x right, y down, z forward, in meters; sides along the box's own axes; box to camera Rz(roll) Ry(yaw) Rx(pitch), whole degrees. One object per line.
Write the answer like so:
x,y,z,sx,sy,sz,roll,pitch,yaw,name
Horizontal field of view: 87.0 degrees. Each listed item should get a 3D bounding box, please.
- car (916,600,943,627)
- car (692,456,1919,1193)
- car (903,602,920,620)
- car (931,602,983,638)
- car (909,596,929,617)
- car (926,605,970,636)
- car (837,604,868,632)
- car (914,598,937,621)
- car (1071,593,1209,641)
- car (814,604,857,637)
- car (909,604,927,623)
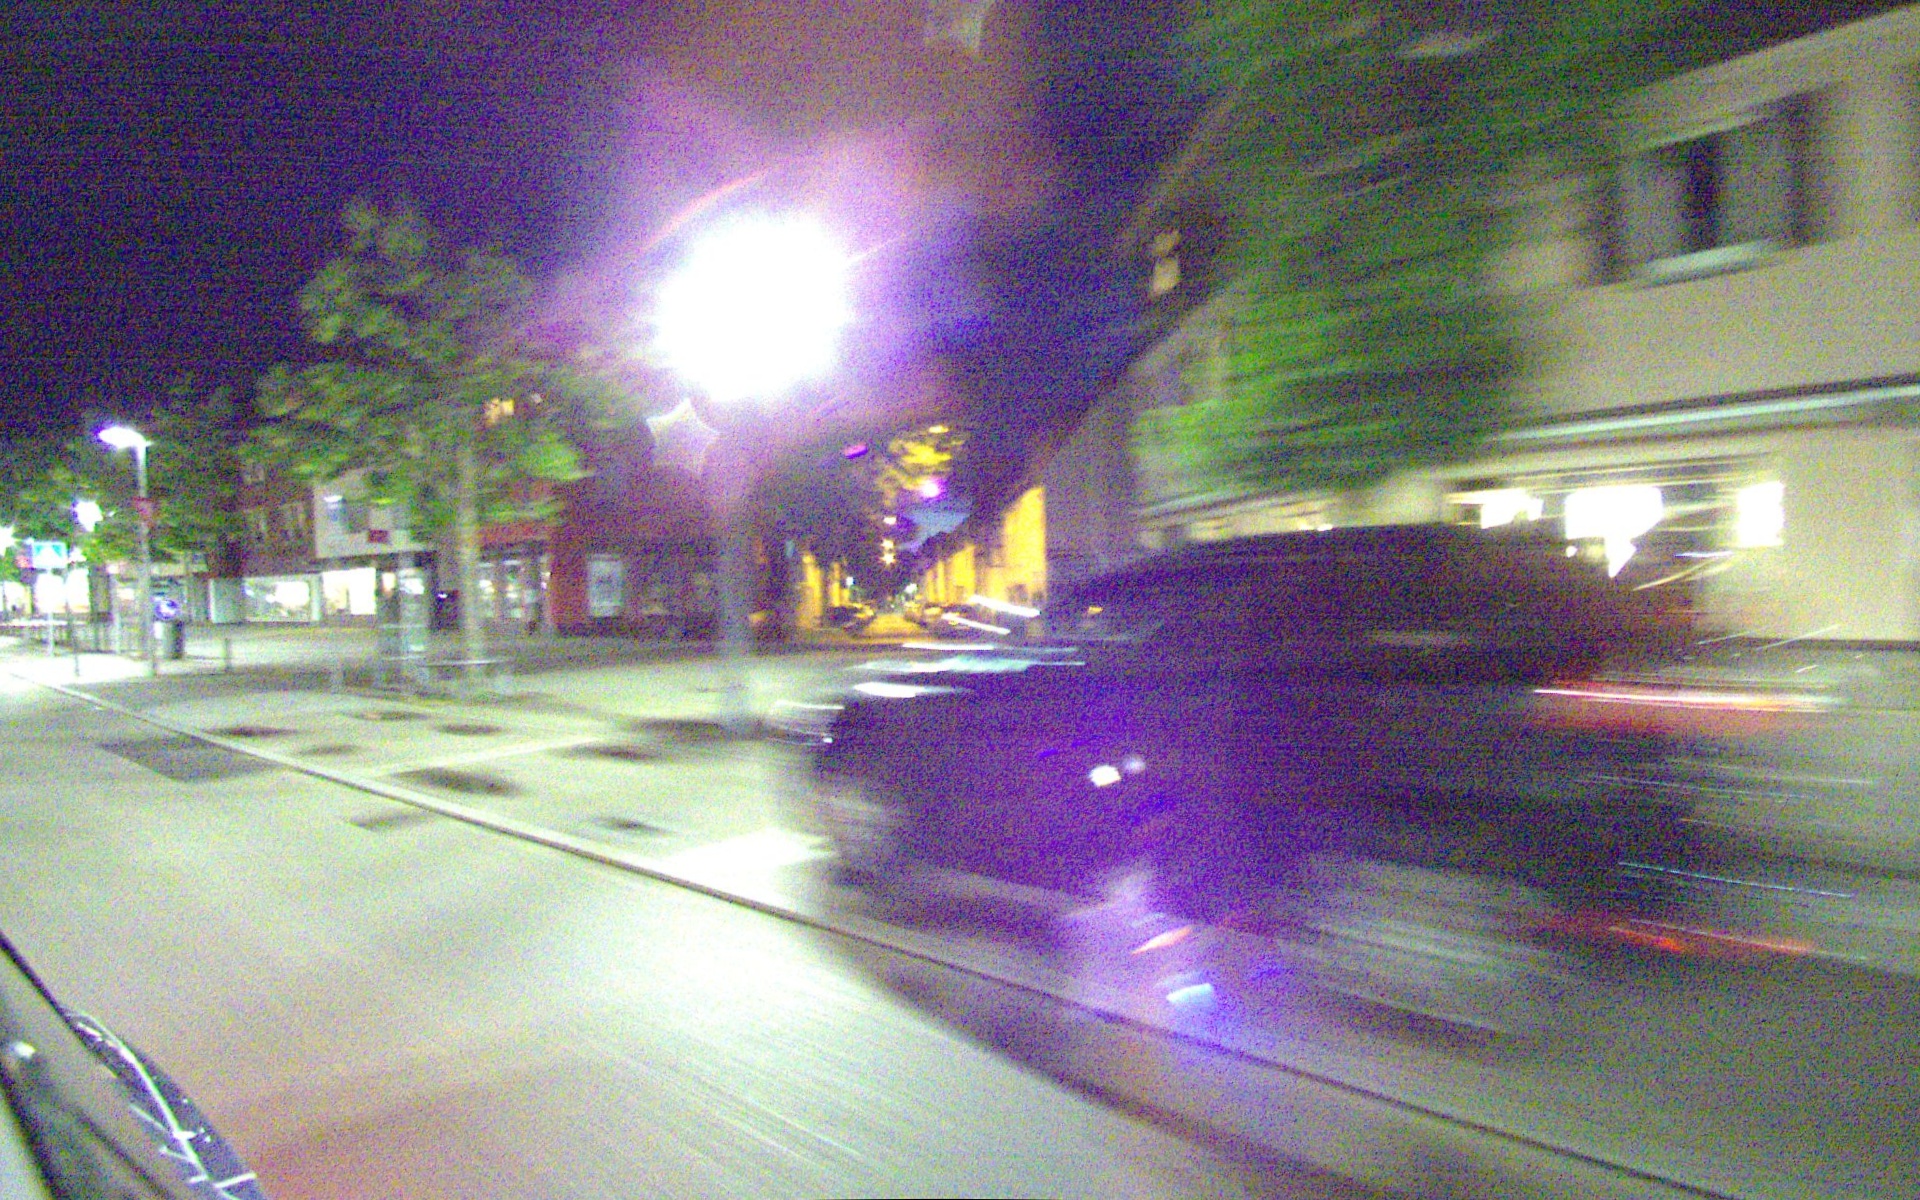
-1.892,0.798,61.766,1.553,1.580,3.422,0,1,-3,car
1.036,0.510,4.740,5.002,1.703,1.996,-1,2,42,car
-4.573,1.042,95.885,1.553,1.580,3.422,0,1,-3,car
-0.164,0.850,41.990,1.793,1.386,4.004,0,-2,-5,car
-3.302,0.517,80.331,1.553,1.580,3.422,0,1,-3,car
-0.602,0.990,47.421,1.793,1.386,4.004,0,-2,-5,car
-6.506,1.088,61.667,1.793,1.650,4.005,0,0,-5,car
-2.476,0.644,71.973,1.553,1.580,3.422,0,1,-3,car
5.715,0.533,32.439,3.938,1.453,1.923,-1,-1,-6,car
-5.490,0.932,44.991,1.793,1.386,4.004,0,-2,-5,car
-3.738,1.139,89.584,1.553,1.580,3.422,0,1,-3,car
